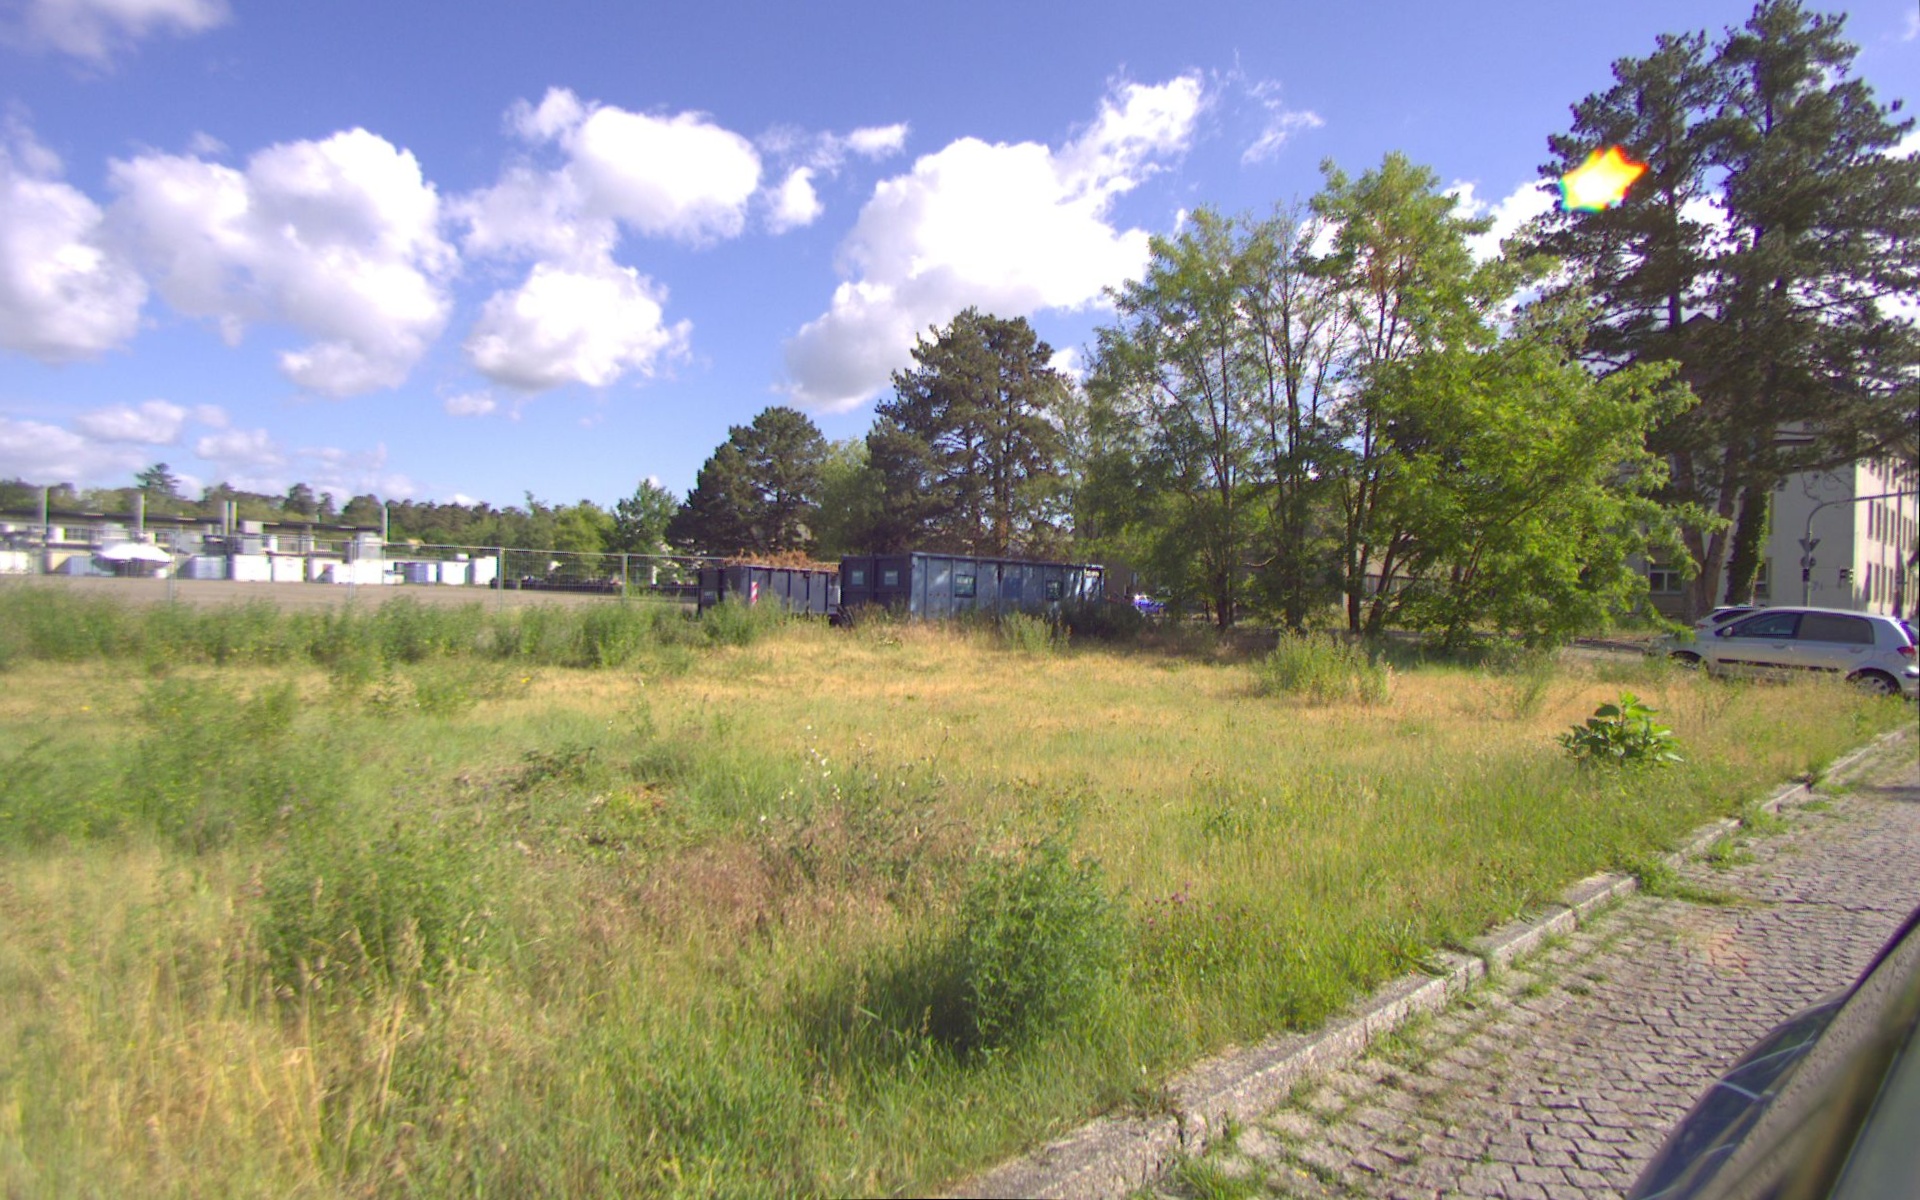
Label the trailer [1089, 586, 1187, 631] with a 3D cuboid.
[{"bbox_3d":[4.650,0.201,26.577,1.019,1.119,2.401,1,0,-44],"label":"trailer"}]

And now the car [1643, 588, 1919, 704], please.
[{"bbox_3d":[14.060,0.695,17.156,1.722,1.494,3.748,1,4,-42],"label":"car"}]

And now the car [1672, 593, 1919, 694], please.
[{"bbox_3d":[16.034,0.755,18.996,1.812,1.458,4.013,1,4,-42],"label":"car"}]

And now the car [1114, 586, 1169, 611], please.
[{"bbox_3d":[13.237,-0.112,73.722,3.988,1.583,1.860,-3,3,-39],"label":"car"}]

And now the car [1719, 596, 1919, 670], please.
[{"bbox_3d":[21.565,0.782,24.698,1.861,1.438,4.547,0,4,-41],"label":"car"}]

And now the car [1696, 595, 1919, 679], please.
[{"bbox_3d":[19.562,0.782,22.786,1.808,1.482,4.520,0,4,-43],"label":"car"}]
